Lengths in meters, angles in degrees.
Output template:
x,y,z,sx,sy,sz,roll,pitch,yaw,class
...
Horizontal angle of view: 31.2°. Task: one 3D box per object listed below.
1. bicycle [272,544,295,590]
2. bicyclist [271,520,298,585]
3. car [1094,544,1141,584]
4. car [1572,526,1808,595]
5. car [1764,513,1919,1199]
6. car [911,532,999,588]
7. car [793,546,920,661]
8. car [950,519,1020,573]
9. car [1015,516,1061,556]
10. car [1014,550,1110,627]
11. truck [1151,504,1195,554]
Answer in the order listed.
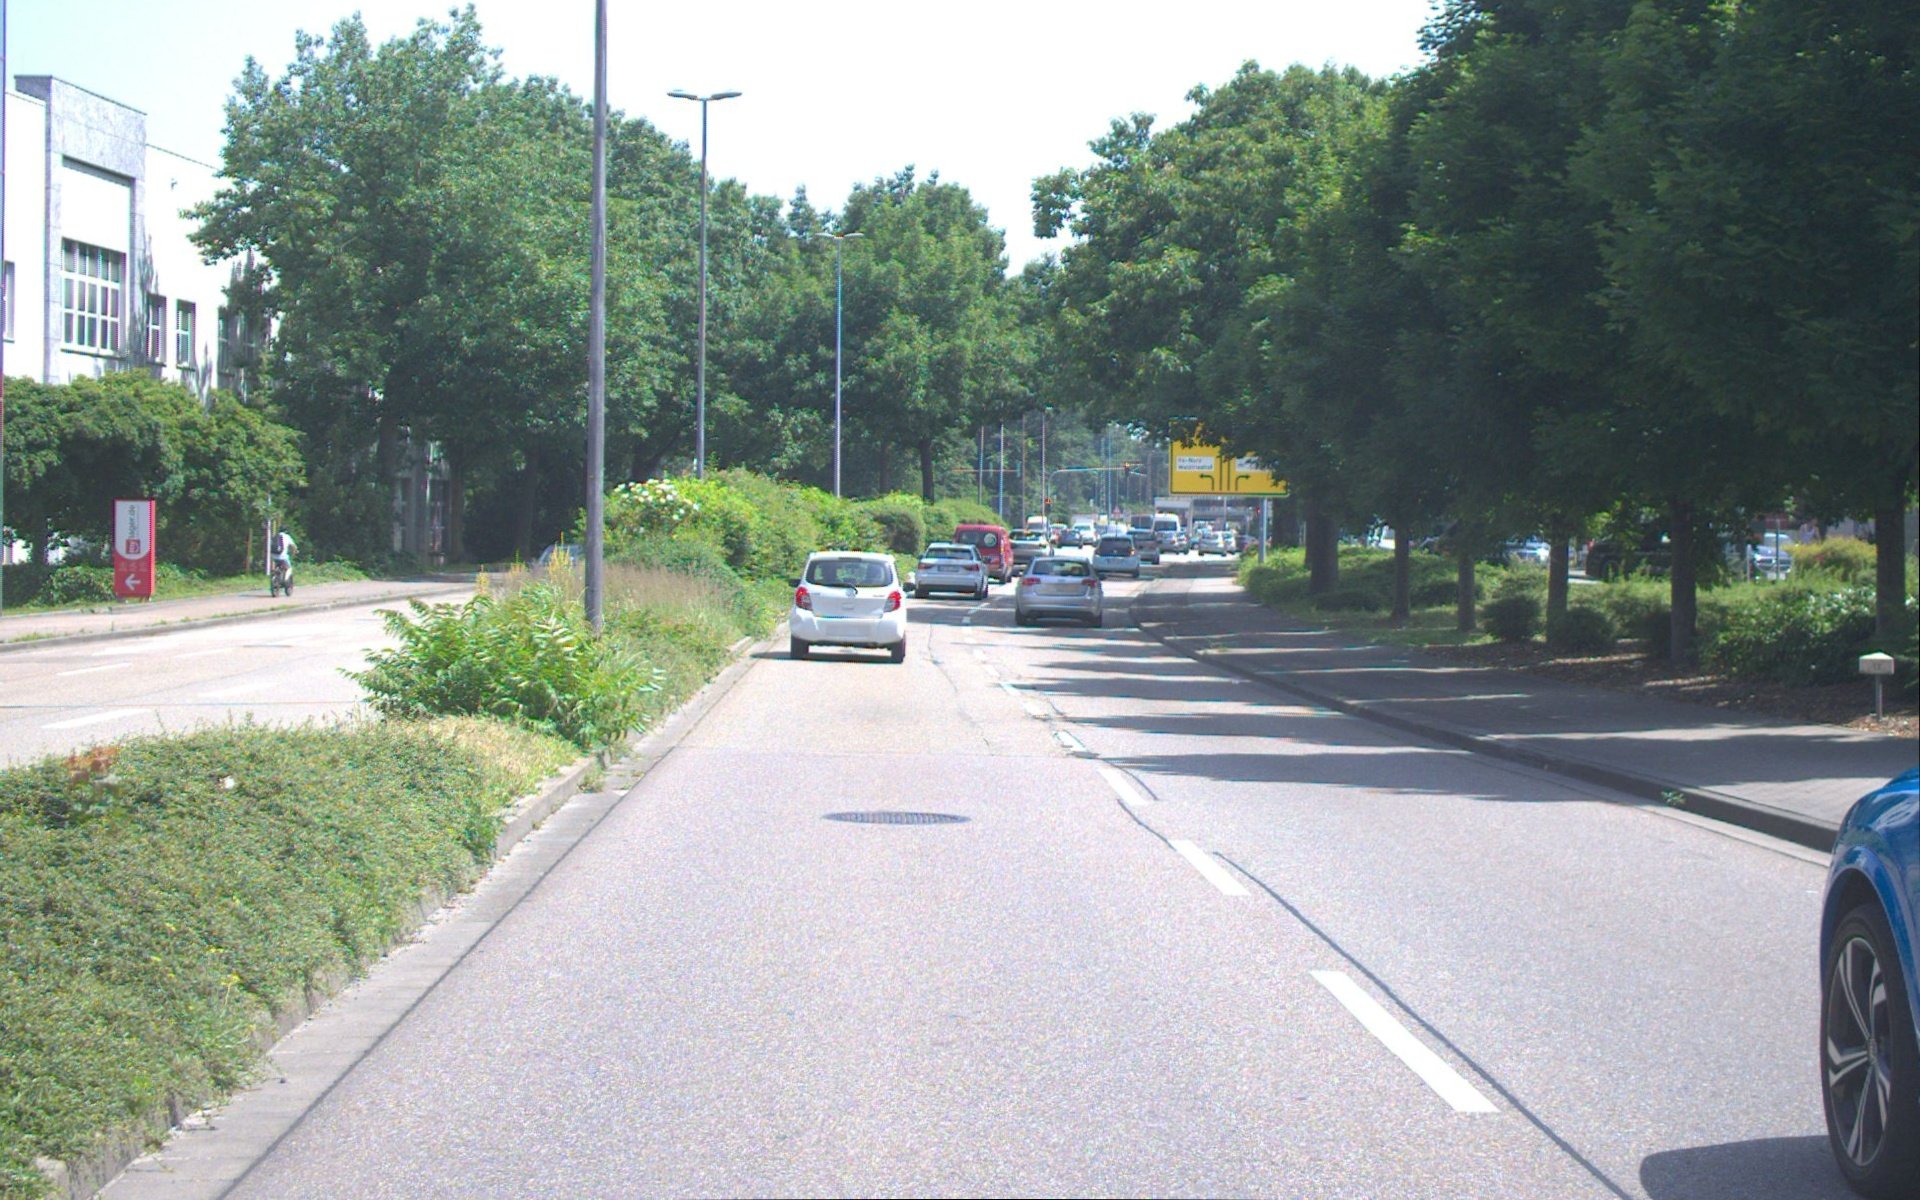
x,y,z,sx,sy,sz,roll,pitch,yaw,class
-15.695,-0.769,79.808,0.346,1.064,0.923,-1,1,-1,bicycle
-15.690,-1.105,79.820,0.545,1.504,0.343,-1,1,-1,bicyclist
5.550,-1.280,121.288,1.441,1.343,3.460,-1,1,-1,car
14.870,-0.811,70.263,1.947,1.347,4.715,-1,1,-33,car
3.043,0.641,6.695,1.808,1.587,4.350,2,1,-1,car
-0.105,-1.028,87.979,1.885,1.349,3.999,2,1,5,car
-1.449,0.025,49.051,1.638,1.546,3.325,2,1,1,car
0.786,-1.670,105.379,1.885,1.603,4.000,-1,1,4,car
2.808,-2.301,124.217,1.487,1.387,3.307,2,1,-1,car
2.094,-0.255,70.243,1.866,1.468,4.000,2,1,2,car
15.353,-5.145,247.205,2.932,3.490,9.157,1,1,5,truck
